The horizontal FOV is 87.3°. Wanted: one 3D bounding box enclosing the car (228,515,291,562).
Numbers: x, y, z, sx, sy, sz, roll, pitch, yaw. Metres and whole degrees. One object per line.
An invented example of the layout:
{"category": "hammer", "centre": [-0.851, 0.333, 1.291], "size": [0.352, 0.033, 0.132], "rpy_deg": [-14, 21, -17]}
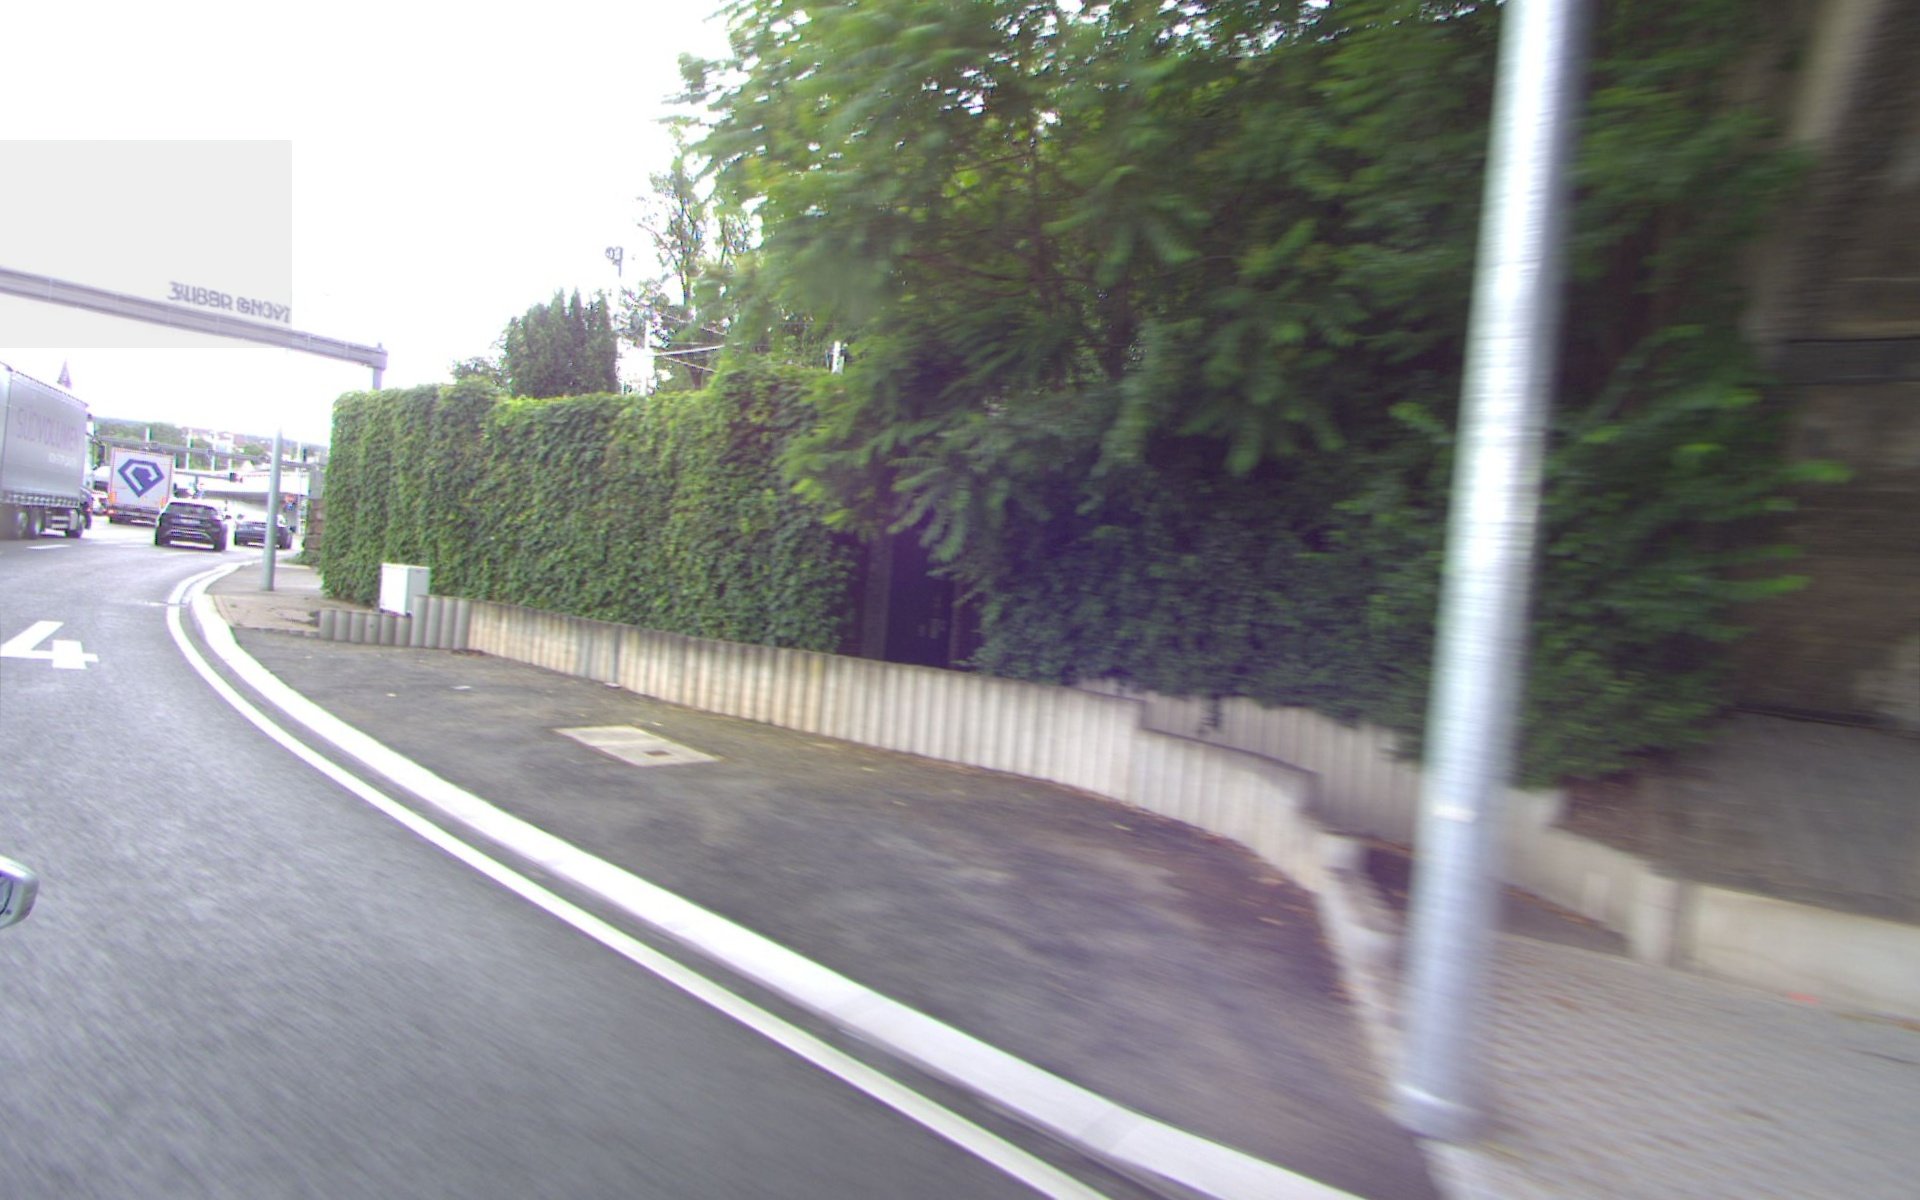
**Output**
{"category": "car", "centre": [-29.934, -2.646, 42.946], "size": [1.884, 1.646, 3.958], "rpy_deg": [7, -1, -38]}

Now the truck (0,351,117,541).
{"category": "truck", "centre": [-25.691, -3.933, 26.328], "size": [3.698, 4.193, 10.890], "rpy_deg": [7, 0, -32]}

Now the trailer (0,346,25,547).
{"category": "trailer", "centre": [-19.836, -3.156, 17.337], "size": [3.703, 4.193, 10.877], "rpy_deg": [7, 0, -35]}

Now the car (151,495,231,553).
{"category": "car", "centre": [-25.298, -2.449, 33.046], "size": [1.884, 1.538, 3.958], "rpy_deg": [7, -2, -39]}

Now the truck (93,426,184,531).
{"category": "truck", "centre": [-45.335, -6.496, 55.777], "size": [3.051, 4.857, 9.064], "rpy_deg": [9, -2, -37]}
